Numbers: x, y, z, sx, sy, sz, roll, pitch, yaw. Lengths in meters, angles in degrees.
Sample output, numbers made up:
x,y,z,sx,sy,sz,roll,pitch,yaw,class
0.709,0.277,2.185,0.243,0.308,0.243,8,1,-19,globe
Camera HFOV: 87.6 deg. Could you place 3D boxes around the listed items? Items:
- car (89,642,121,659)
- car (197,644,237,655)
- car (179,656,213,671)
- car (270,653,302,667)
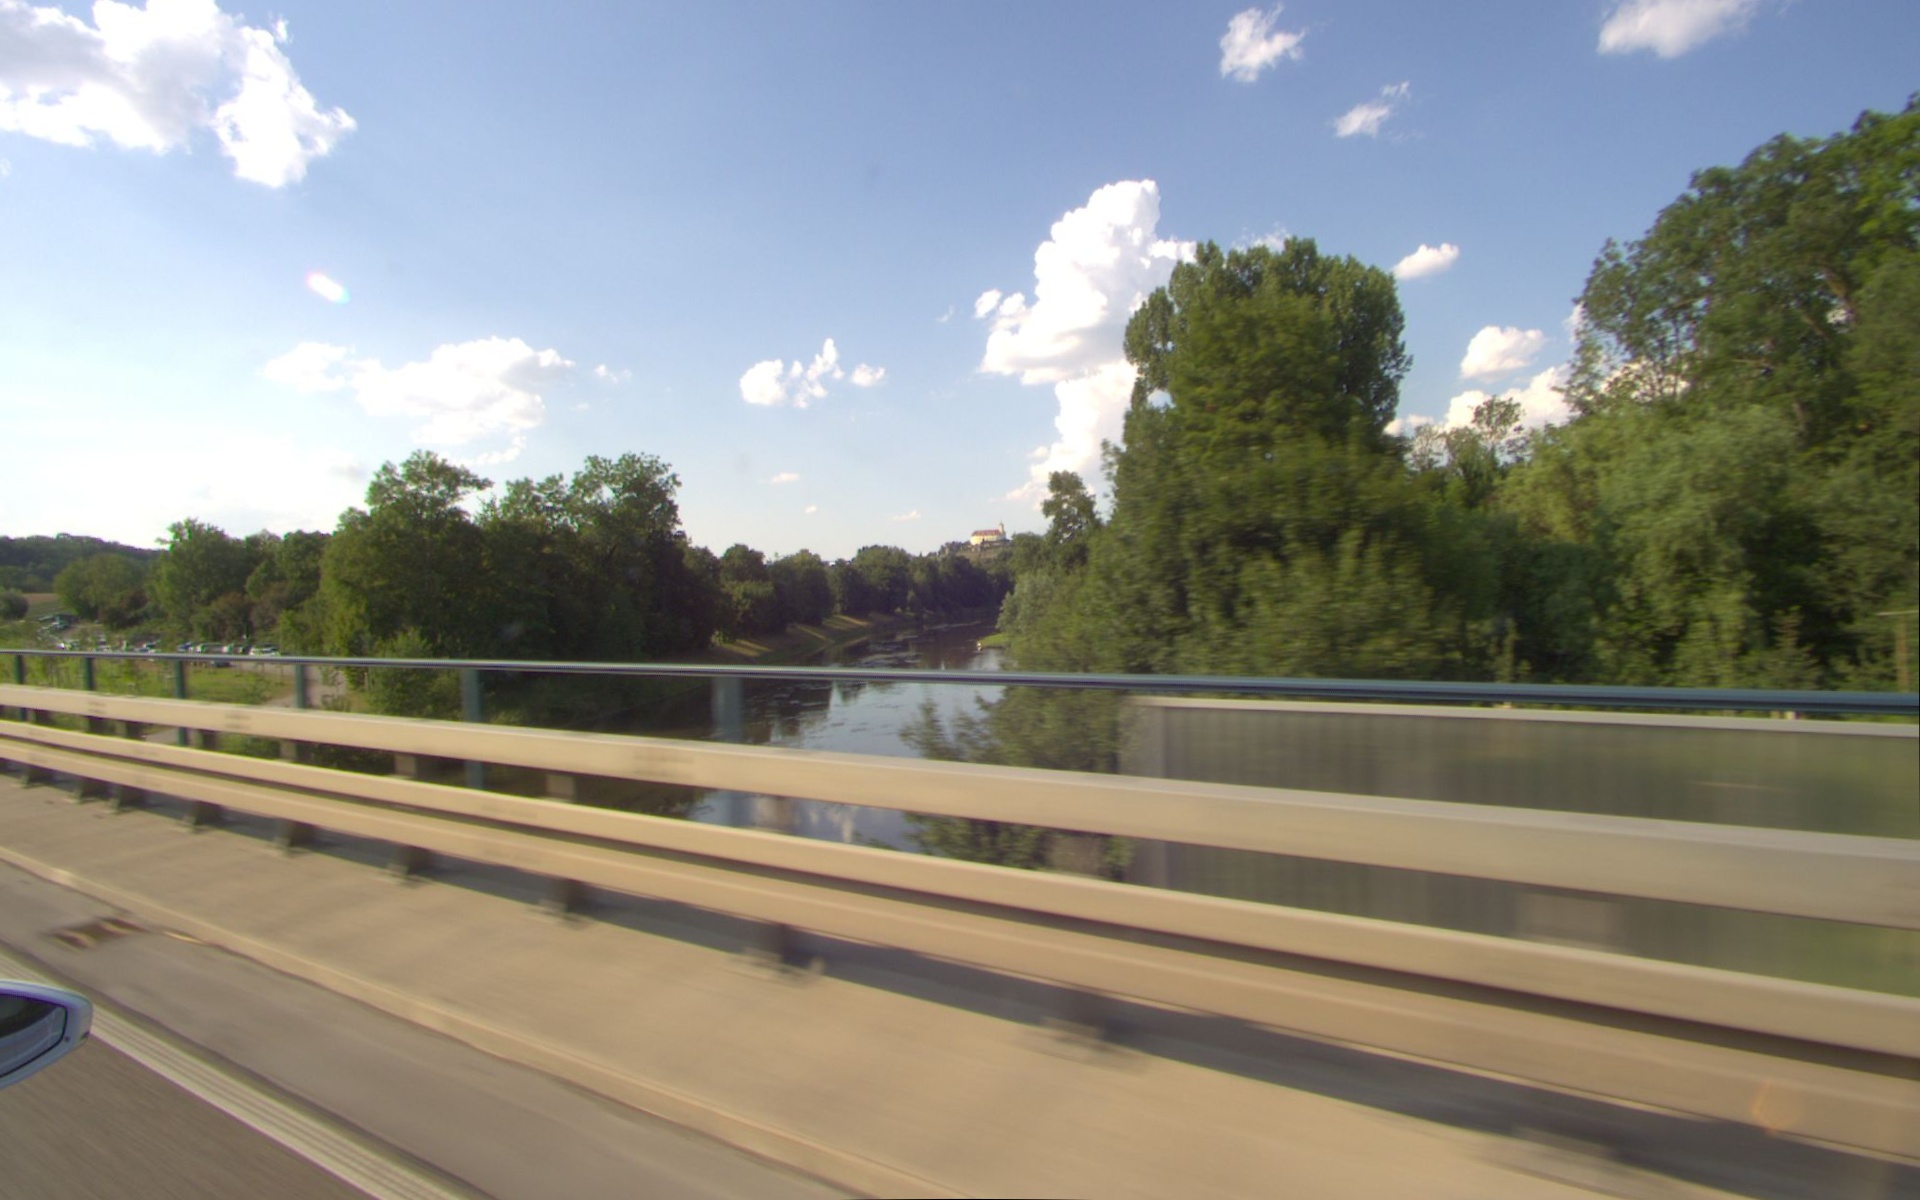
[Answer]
x,y,z,sx,sy,sz,roll,pitch,yaw,class
-119.941,7.073,140.438,5.306,2.046,2.111,0,4,35,car
-105.534,7.044,142.254,1.593,1.474,4.230,0,-1,29,car
-91.723,7.614,120.237,4.194,1.420,1.814,0,2,31,car
-79.540,7.049,118.092,4.164,1.516,1.650,-2,-1,33,car
